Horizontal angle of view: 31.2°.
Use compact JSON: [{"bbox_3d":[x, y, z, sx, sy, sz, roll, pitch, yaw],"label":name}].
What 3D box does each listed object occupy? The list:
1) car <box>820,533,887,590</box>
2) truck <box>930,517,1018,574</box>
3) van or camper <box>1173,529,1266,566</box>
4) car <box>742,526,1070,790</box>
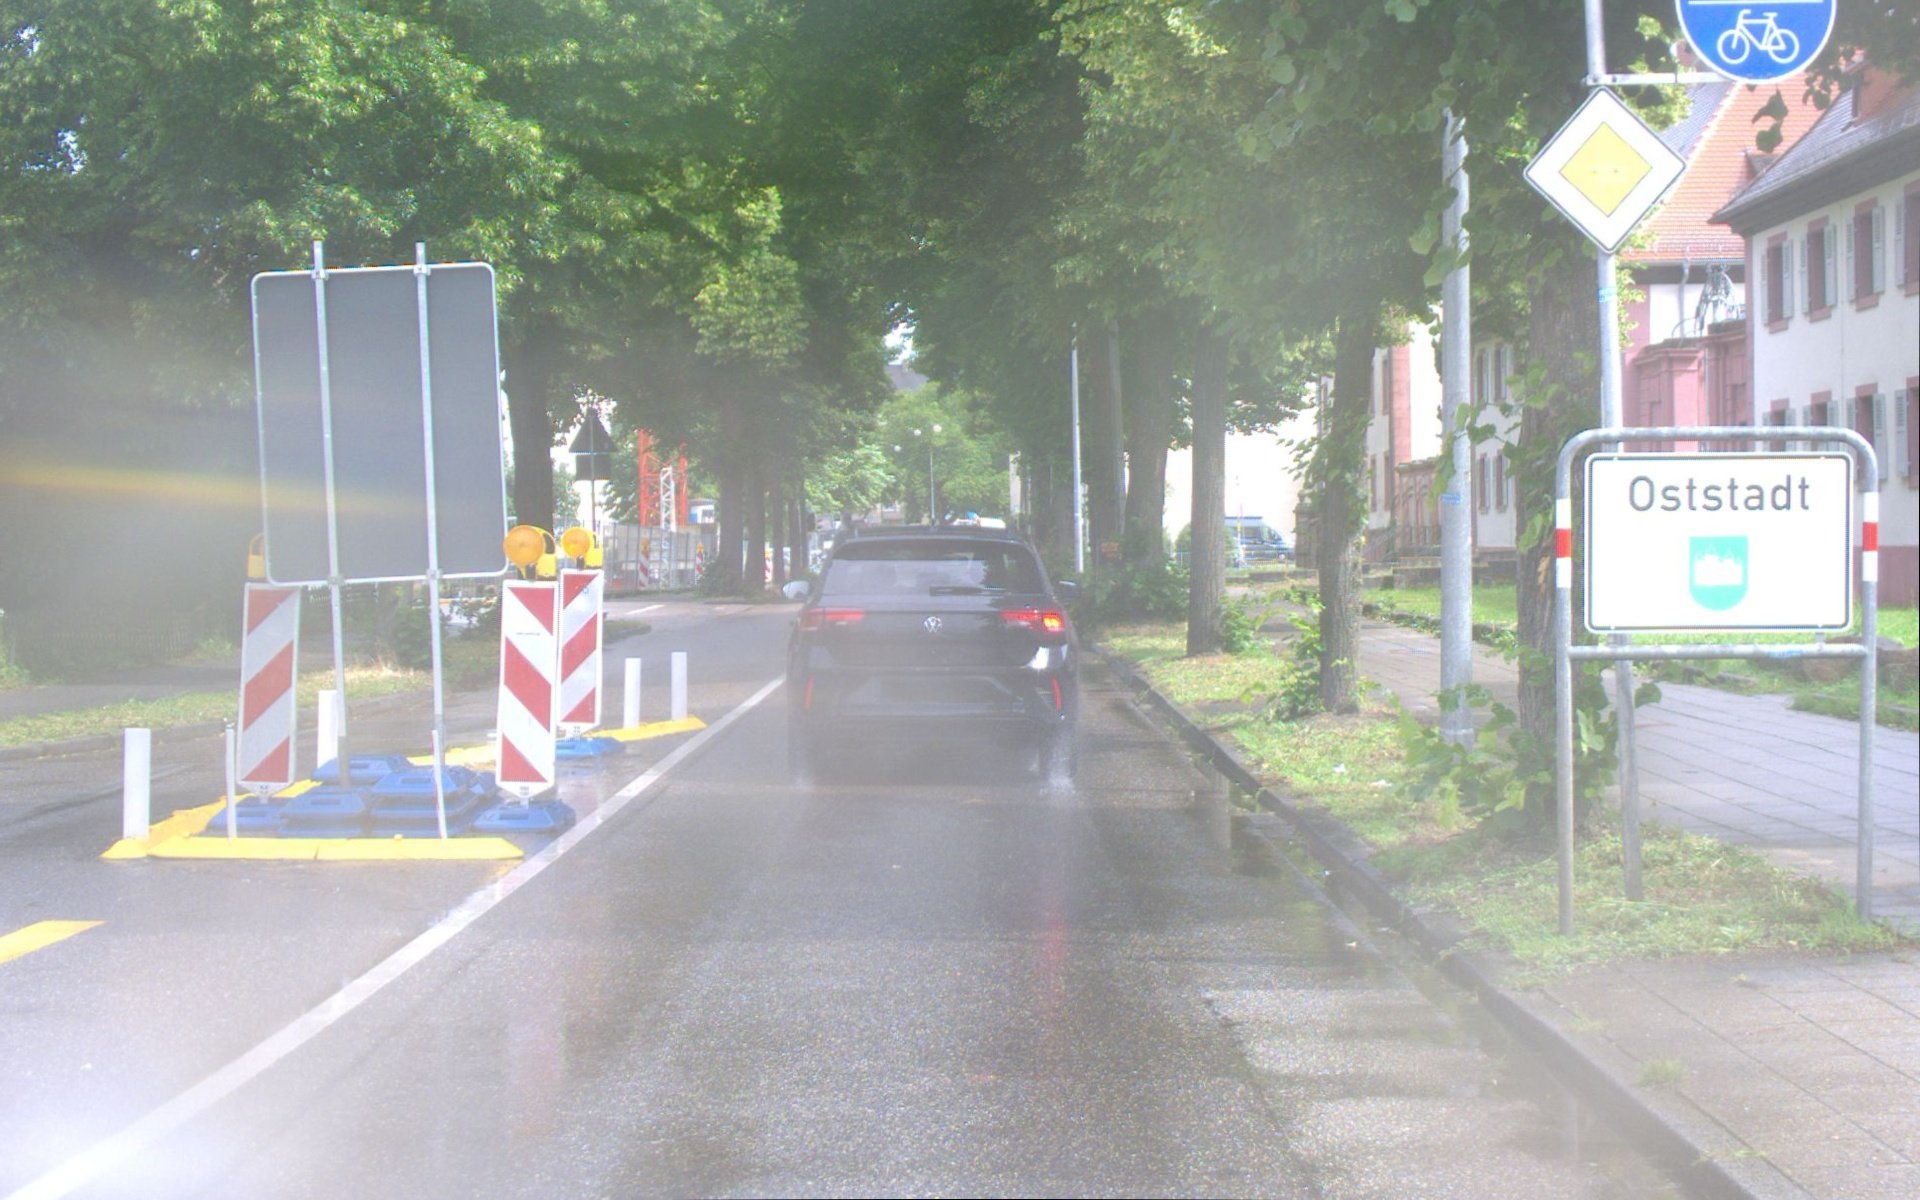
[{"bbox_3d":[-3.315,-1.233,107.729,1.886,1.707,4.229,-2,1,1],"label":"car"},{"bbox_3d":[0.606,-2.634,163.649,2.804,2.647,8.243,-1,1,-10],"label":"truck"},{"bbox_3d":[13.905,-2.827,184.532,4.875,1.919,2.131,0,1,1],"label":"van or camper"},{"bbox_3d":[-0.394,0.310,21.958,1.894,1.517,4.000,0,1,-2],"label":"car"}]
